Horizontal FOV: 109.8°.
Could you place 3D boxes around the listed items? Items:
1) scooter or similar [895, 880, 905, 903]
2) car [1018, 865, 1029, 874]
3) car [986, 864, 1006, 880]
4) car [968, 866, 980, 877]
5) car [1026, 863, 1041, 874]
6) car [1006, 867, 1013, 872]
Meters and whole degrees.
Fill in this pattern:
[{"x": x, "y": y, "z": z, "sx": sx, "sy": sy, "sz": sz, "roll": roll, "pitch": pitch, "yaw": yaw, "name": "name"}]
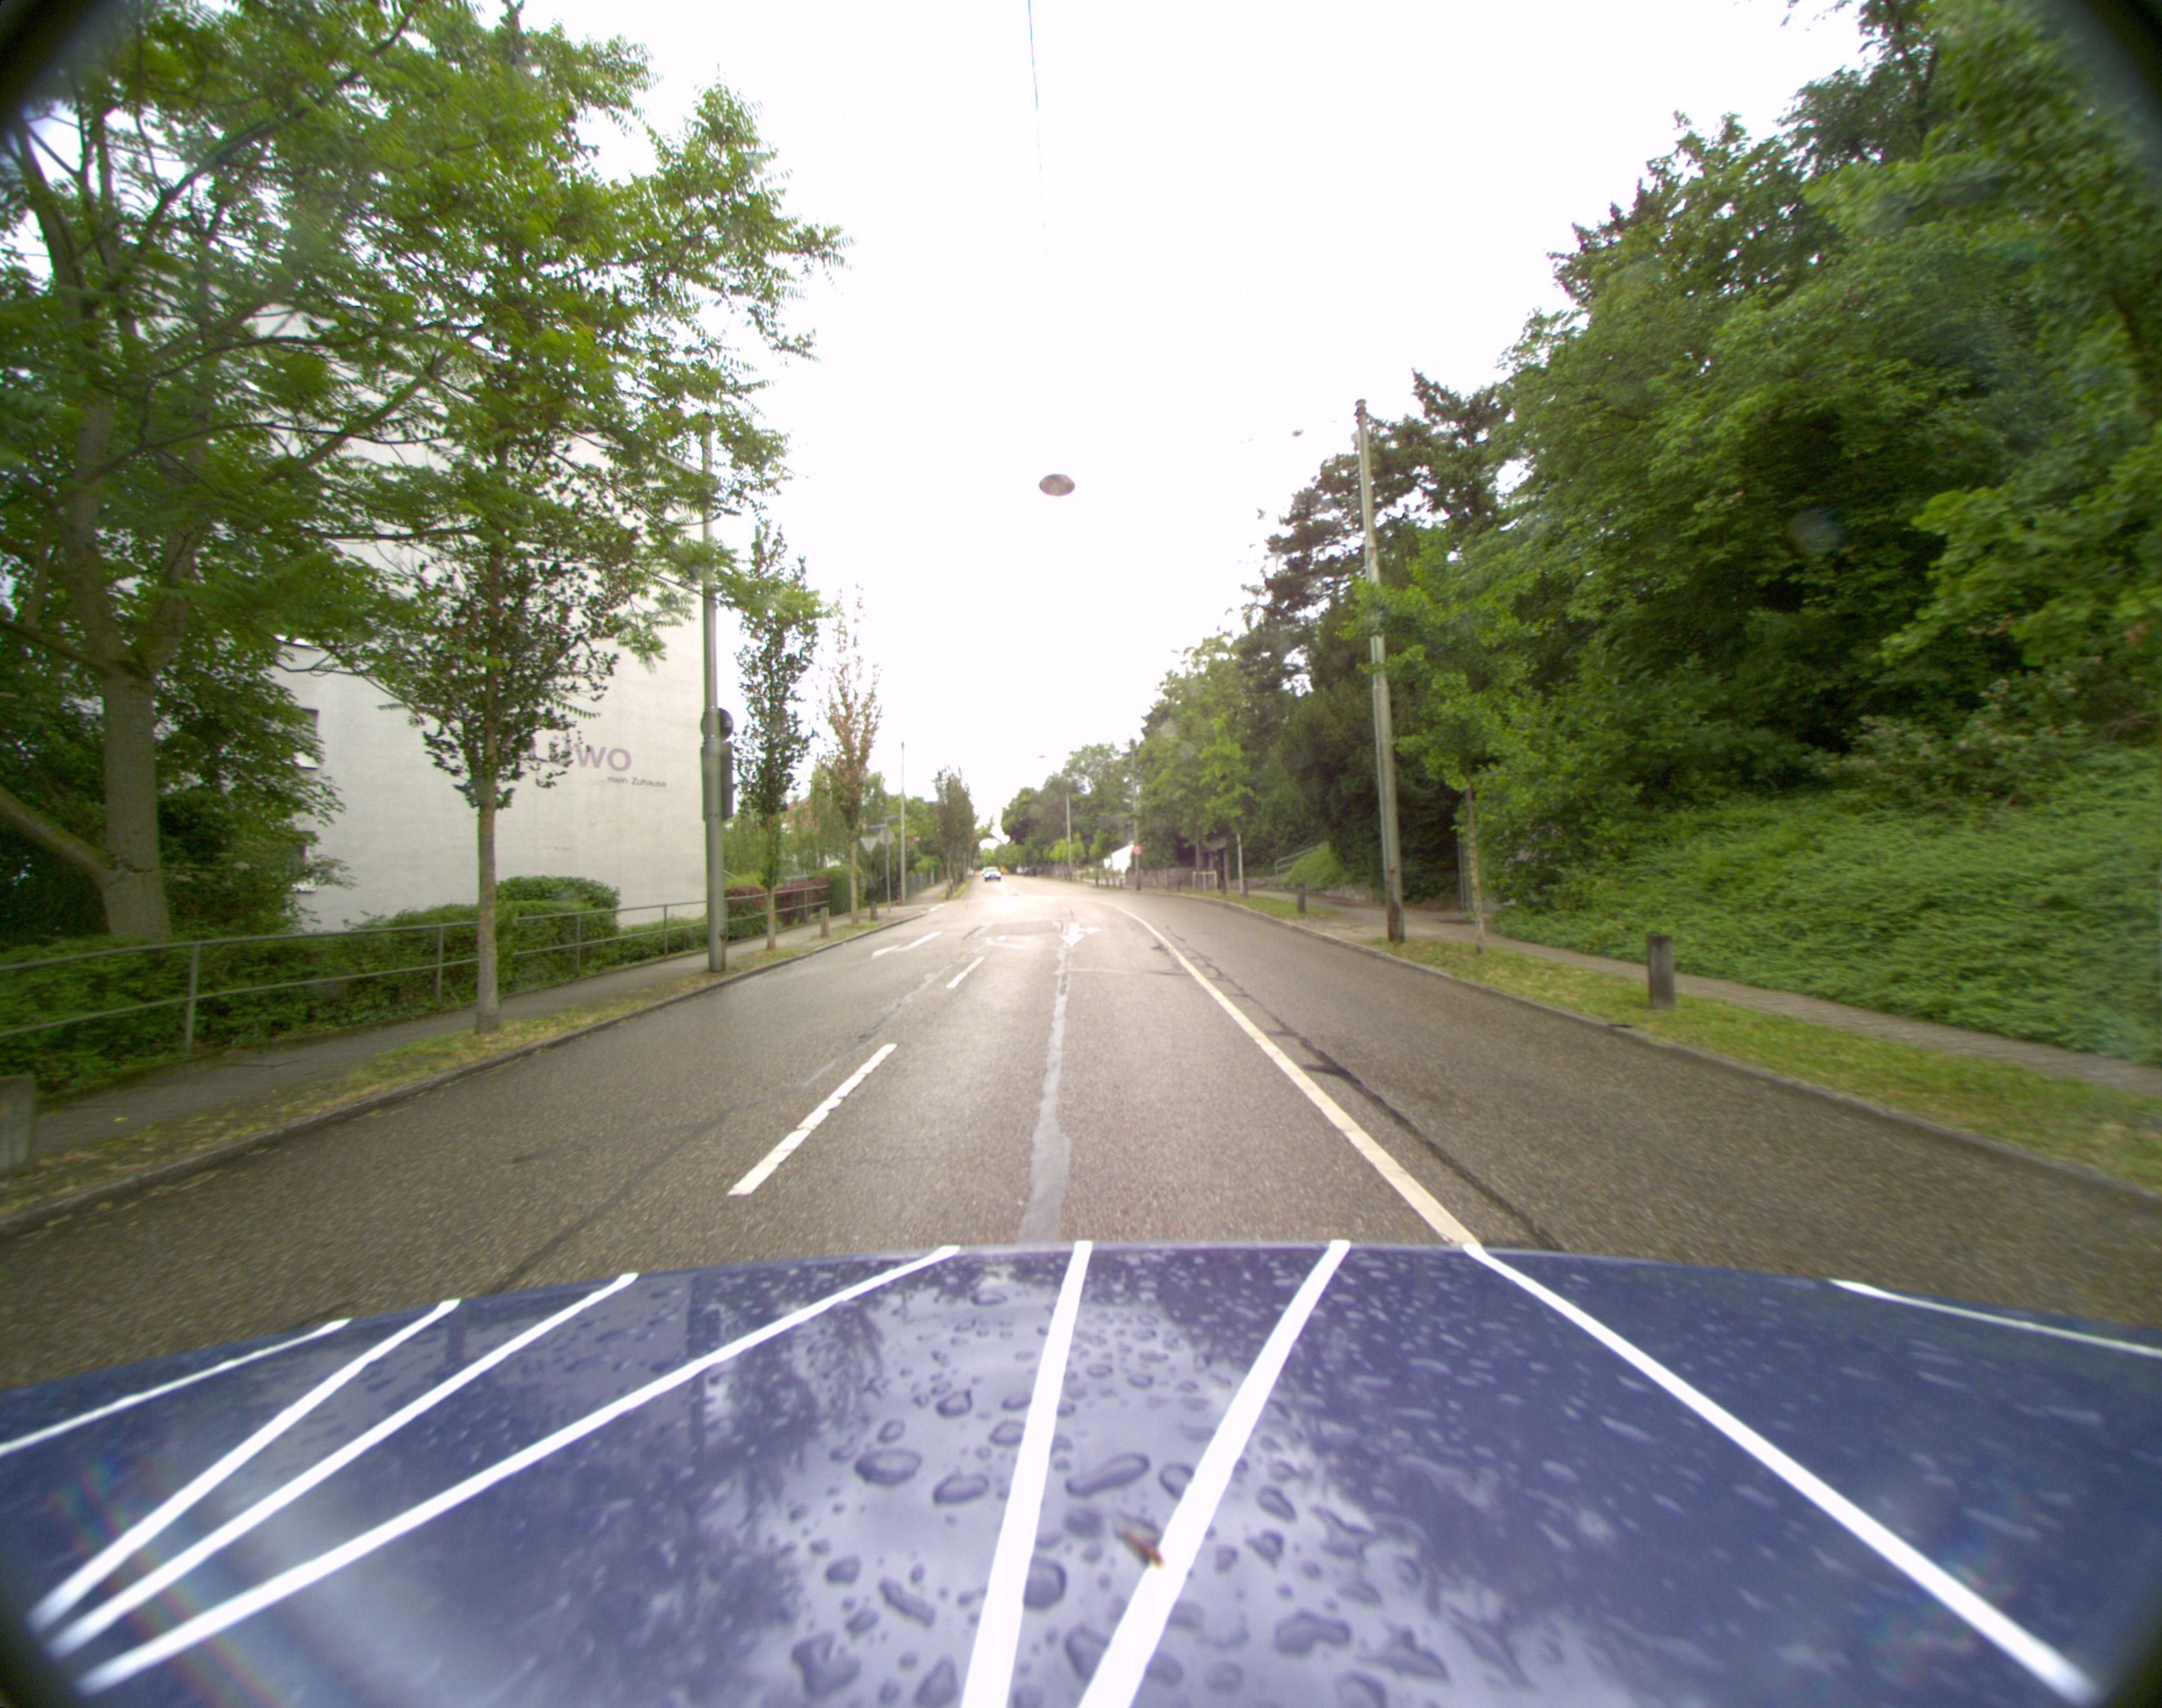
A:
[{"x": -10.601, "y": 2.168, "z": 44.503, "sx": 0.344, "sy": 1.247, "sz": 1.266, "roll": -5, "pitch": 1, "yaw": -8, "name": "scooter or similar"}, {"x": -10.457, "y": 2.808, "z": 137.869, "sx": 1.770, "sy": 1.477, "sz": 3.799, "roll": 1, "pitch": -1, "yaw": -7, "name": "car"}, {"x": -10.014, "y": 2.182, "z": 89.894, "sx": 1.999, "sy": 1.673, "sz": 3.999, "roll": -5, "pitch": -1, "yaw": -5, "name": "car"}, {"x": -17.091, "y": 2.811, "z": 121.172, "sx": 1.830, "sy": 1.620, "sz": 3.997, "roll": -2, "pitch": 0, "yaw": -9, "name": "car"}, {"x": -7.241, "y": 2.125, "z": 115.725, "sx": 1.917, "sy": 1.575, "sz": 4.584, "roll": 1, "pitch": 0, "yaw": -6, "name": "car"}, {"x": -20.167, "y": 4.343, "z": 213.986, "sx": 1.751, "sy": 1.540, "sz": 3.915, "roll": 1, "pitch": -1, "yaw": -8, "name": "car"}]
